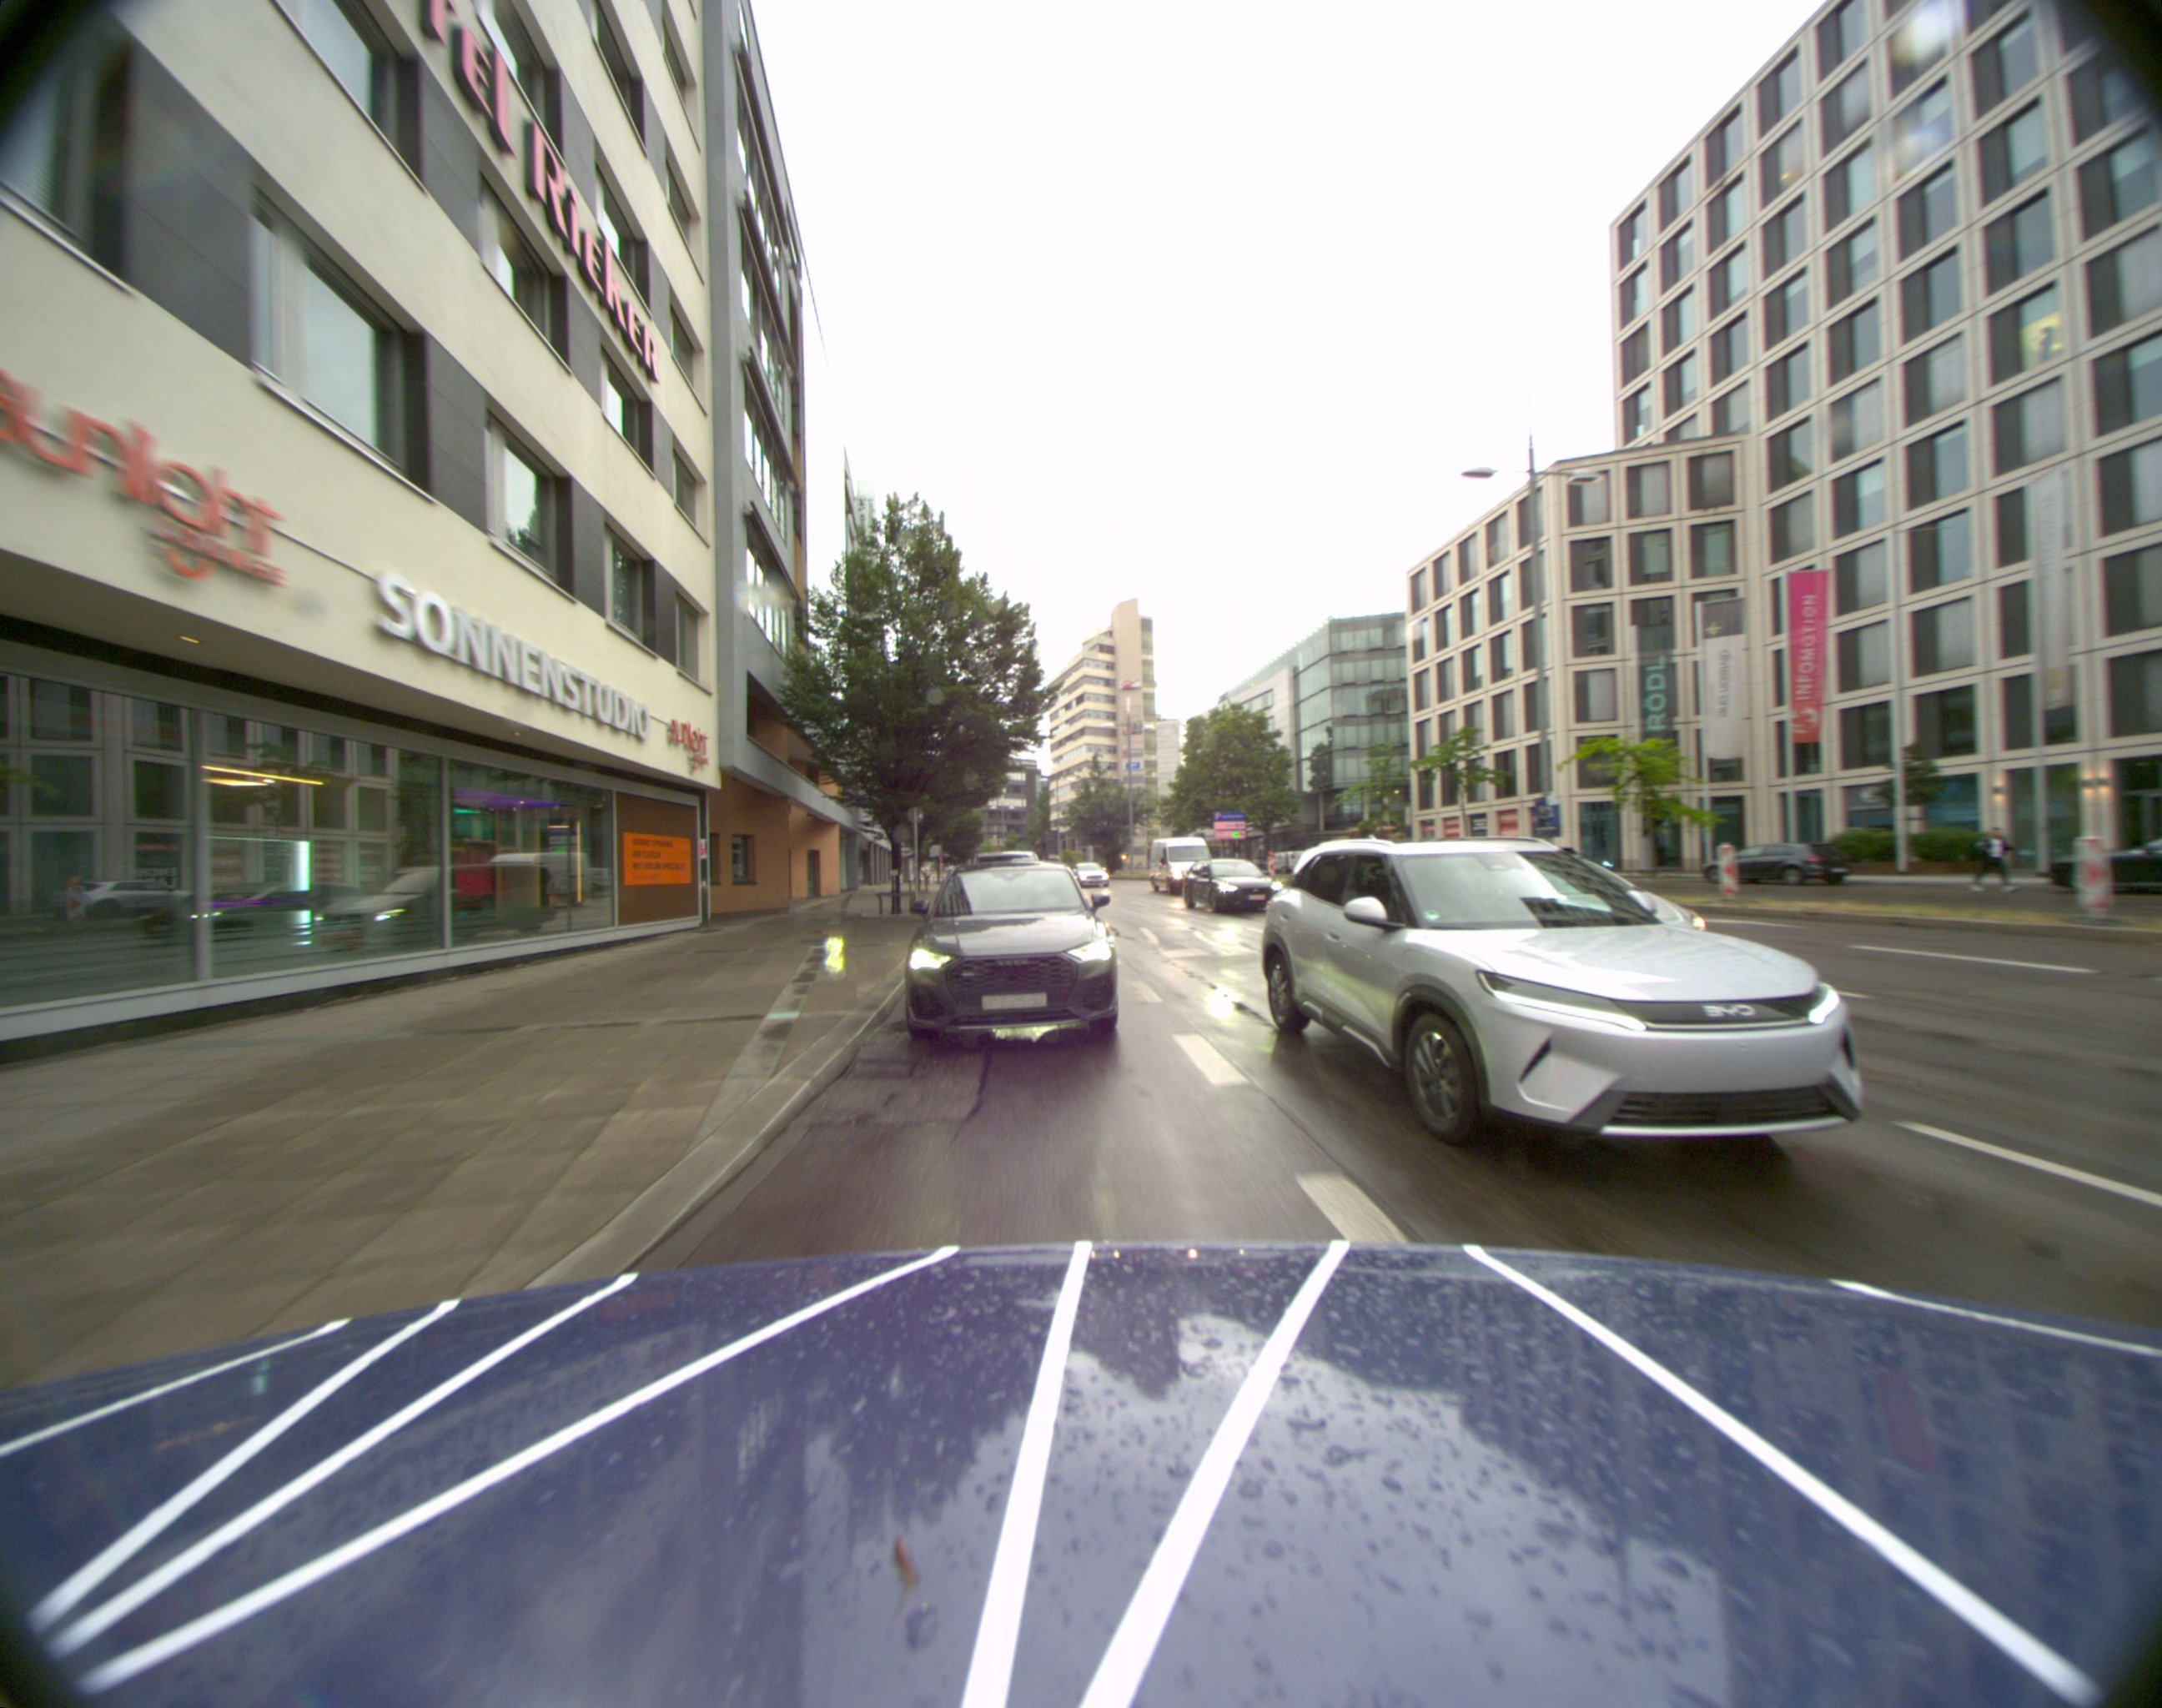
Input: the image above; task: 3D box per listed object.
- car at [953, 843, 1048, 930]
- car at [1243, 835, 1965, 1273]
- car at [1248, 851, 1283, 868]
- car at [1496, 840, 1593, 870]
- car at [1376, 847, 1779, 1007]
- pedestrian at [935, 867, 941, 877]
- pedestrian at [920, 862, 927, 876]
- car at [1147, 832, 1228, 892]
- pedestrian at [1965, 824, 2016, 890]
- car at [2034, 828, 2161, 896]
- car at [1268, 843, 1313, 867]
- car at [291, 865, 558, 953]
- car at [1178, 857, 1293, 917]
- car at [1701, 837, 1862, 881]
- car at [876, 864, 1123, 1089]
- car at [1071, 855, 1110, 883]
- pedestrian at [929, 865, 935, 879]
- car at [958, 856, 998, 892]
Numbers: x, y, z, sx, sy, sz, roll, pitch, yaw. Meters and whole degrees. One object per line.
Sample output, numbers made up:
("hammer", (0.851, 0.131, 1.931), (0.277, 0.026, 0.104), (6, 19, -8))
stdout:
("car", (-2.181, 0.729, 19.842), (2.061, 1.881, 5.045), (-3, 1, -8))
("car", (2.555, 0.774, 5.107), (1.813, 1.651, 4.169), (-3, 1, -3))
("car", (18.046, 0.531, 74.533), (1.803, 1.520, 4.282), (-3, 1, -10))
("car", (23.017, 0.042, 37.951), (1.703, 1.415, 4.370), (0, 0, -9))
("car", (5.747, 0.710, 9.524), (1.776, 1.470, 4.123), (-3, 1, -13))
("pedestrian", (-22.898, 2.906, 121.700), (0.654, 1.588, 1.057), (-3, 1, -15))
("pedestrian", (-19.834, 1.926, 95.882), (0.794, 1.771, 0.894), (-3, -1, -13))
("car", (4.621, 0.307, 33.898), (2.260, 2.371, 5.716), (-3, 1, -5))
("pedestrian", (24.479, 0.064, 20.470), (0.613, 1.724, 0.969), (-2, 1, 35))
("car", (25.792, 0.180, 17.153), (1.703, 1.560, 5.179), (0, 0, -9))
("car", (18.941, 0.105, 69.071), (2.000, 2.002, 4.911), (-3, 1, -10))
("car", (-15.049, 1.144, 17.932), (1.999, 1.600, 4.926), (-3, 1, -1))
("car", (4.210, 0.842, 21.439), (1.905, 1.393, 4.238), (-3, 1, -7))
("car", (24.378, 0.178, 26.663), (1.703, 1.415, 3.952), (0, 0, -9))
("car", (-0.649, 0.958, 7.965), (1.802, 1.543, 4.387), (-3, 1, -1))
("car", (0.494, 0.885, 45.367), (1.785, 1.499, 3.997), (-3, 1, -7))
("pedestrian", (-18.985, 2.308, 96.696), (0.641, 1.771, 0.879), (-3, -1, -10))
("car", (-6.244, 1.140, 45.635), (2.061, 1.881, 5.044), (-3, 1, -10))
